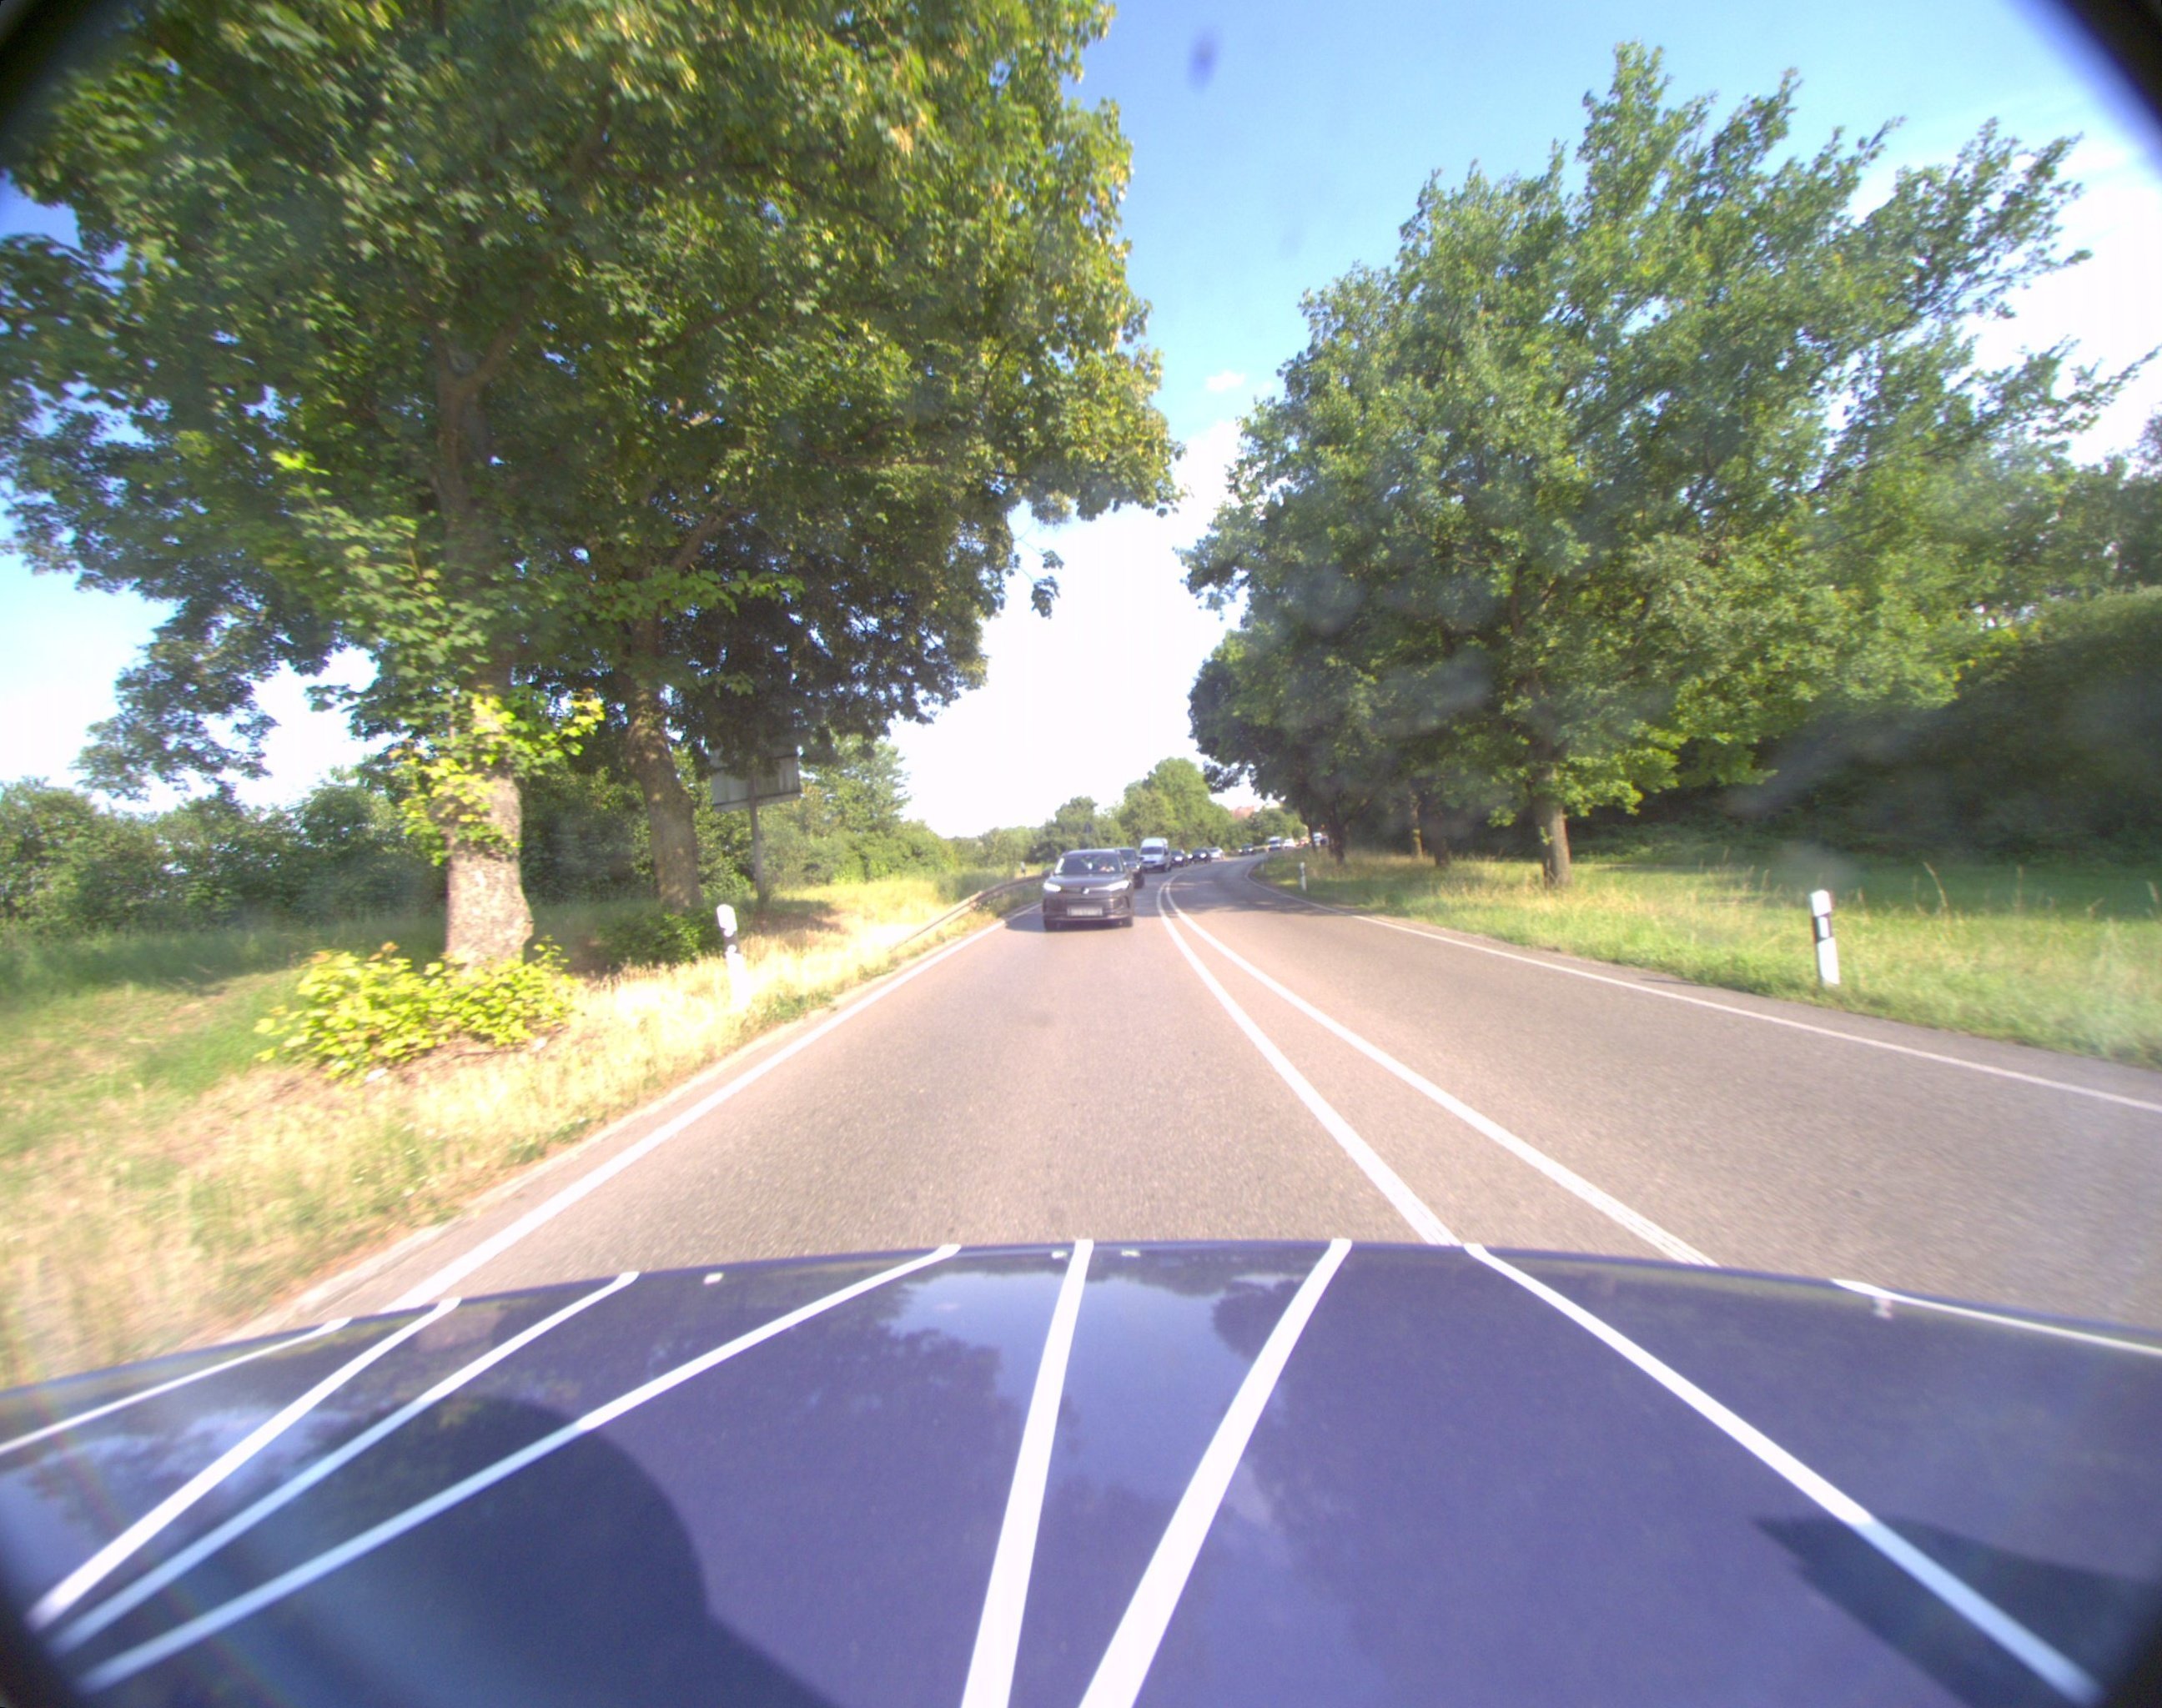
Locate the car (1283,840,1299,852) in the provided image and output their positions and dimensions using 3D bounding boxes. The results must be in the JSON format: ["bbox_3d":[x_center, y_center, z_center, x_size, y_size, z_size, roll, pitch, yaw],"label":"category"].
[{"bbox_3d":[42.728,-1.637,154.464,2.085,2.403,5.150,-2,1,26],"label":"car"}]

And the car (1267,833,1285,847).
[{"bbox_3d":[35.238,-2.538,137.413,2.085,2.403,5.150,-2,1,26],"label":"car"}]

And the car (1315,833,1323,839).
[{"bbox_3d":[73.078,-5.480,233.220,1.892,1.622,4.256,-2,1,23],"label":"car"}]

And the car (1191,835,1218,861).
[{"bbox_3d":[12.199,-0.619,74.594,2.086,2.403,5.146,-3,1,14],"label":"car"}]

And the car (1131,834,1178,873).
[{"bbox_3d":[5.068,-0.093,51.753,2.086,2.403,5.147,-2,1,17],"label":"car"}]

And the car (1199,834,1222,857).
[{"bbox_3d":[14.850,-1.036,86.904,2.086,2.403,5.146,-3,1,14],"label":"car"}]

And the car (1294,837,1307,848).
[{"bbox_3d":[52.036,-2.688,180.133,2.085,2.403,5.150,-2,1,26],"label":"car"}]

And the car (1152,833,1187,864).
[{"bbox_3d":[7.402,-0.479,63.047,2.086,2.403,5.146,-3,1,14],"label":"car"}]

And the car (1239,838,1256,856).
[{"bbox_3d":[23.812,-0.998,108.481,2.086,2.403,5.146,-3,1,14],"label":"car"}]

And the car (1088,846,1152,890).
[{"bbox_3d":[1.812,0.569,33.296,1.920,1.718,4.706,-3,0,13],"label":"car"}]

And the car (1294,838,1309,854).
[{"bbox_3d":[36.920,-1.323,126.927,2.085,2.403,5.148,-2,1,19],"label":"car"}]

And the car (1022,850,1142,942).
[{"bbox_3d":[0.194,0.798,16.928,1.921,1.612,4.703,-3,1,9],"label":"car"}]
